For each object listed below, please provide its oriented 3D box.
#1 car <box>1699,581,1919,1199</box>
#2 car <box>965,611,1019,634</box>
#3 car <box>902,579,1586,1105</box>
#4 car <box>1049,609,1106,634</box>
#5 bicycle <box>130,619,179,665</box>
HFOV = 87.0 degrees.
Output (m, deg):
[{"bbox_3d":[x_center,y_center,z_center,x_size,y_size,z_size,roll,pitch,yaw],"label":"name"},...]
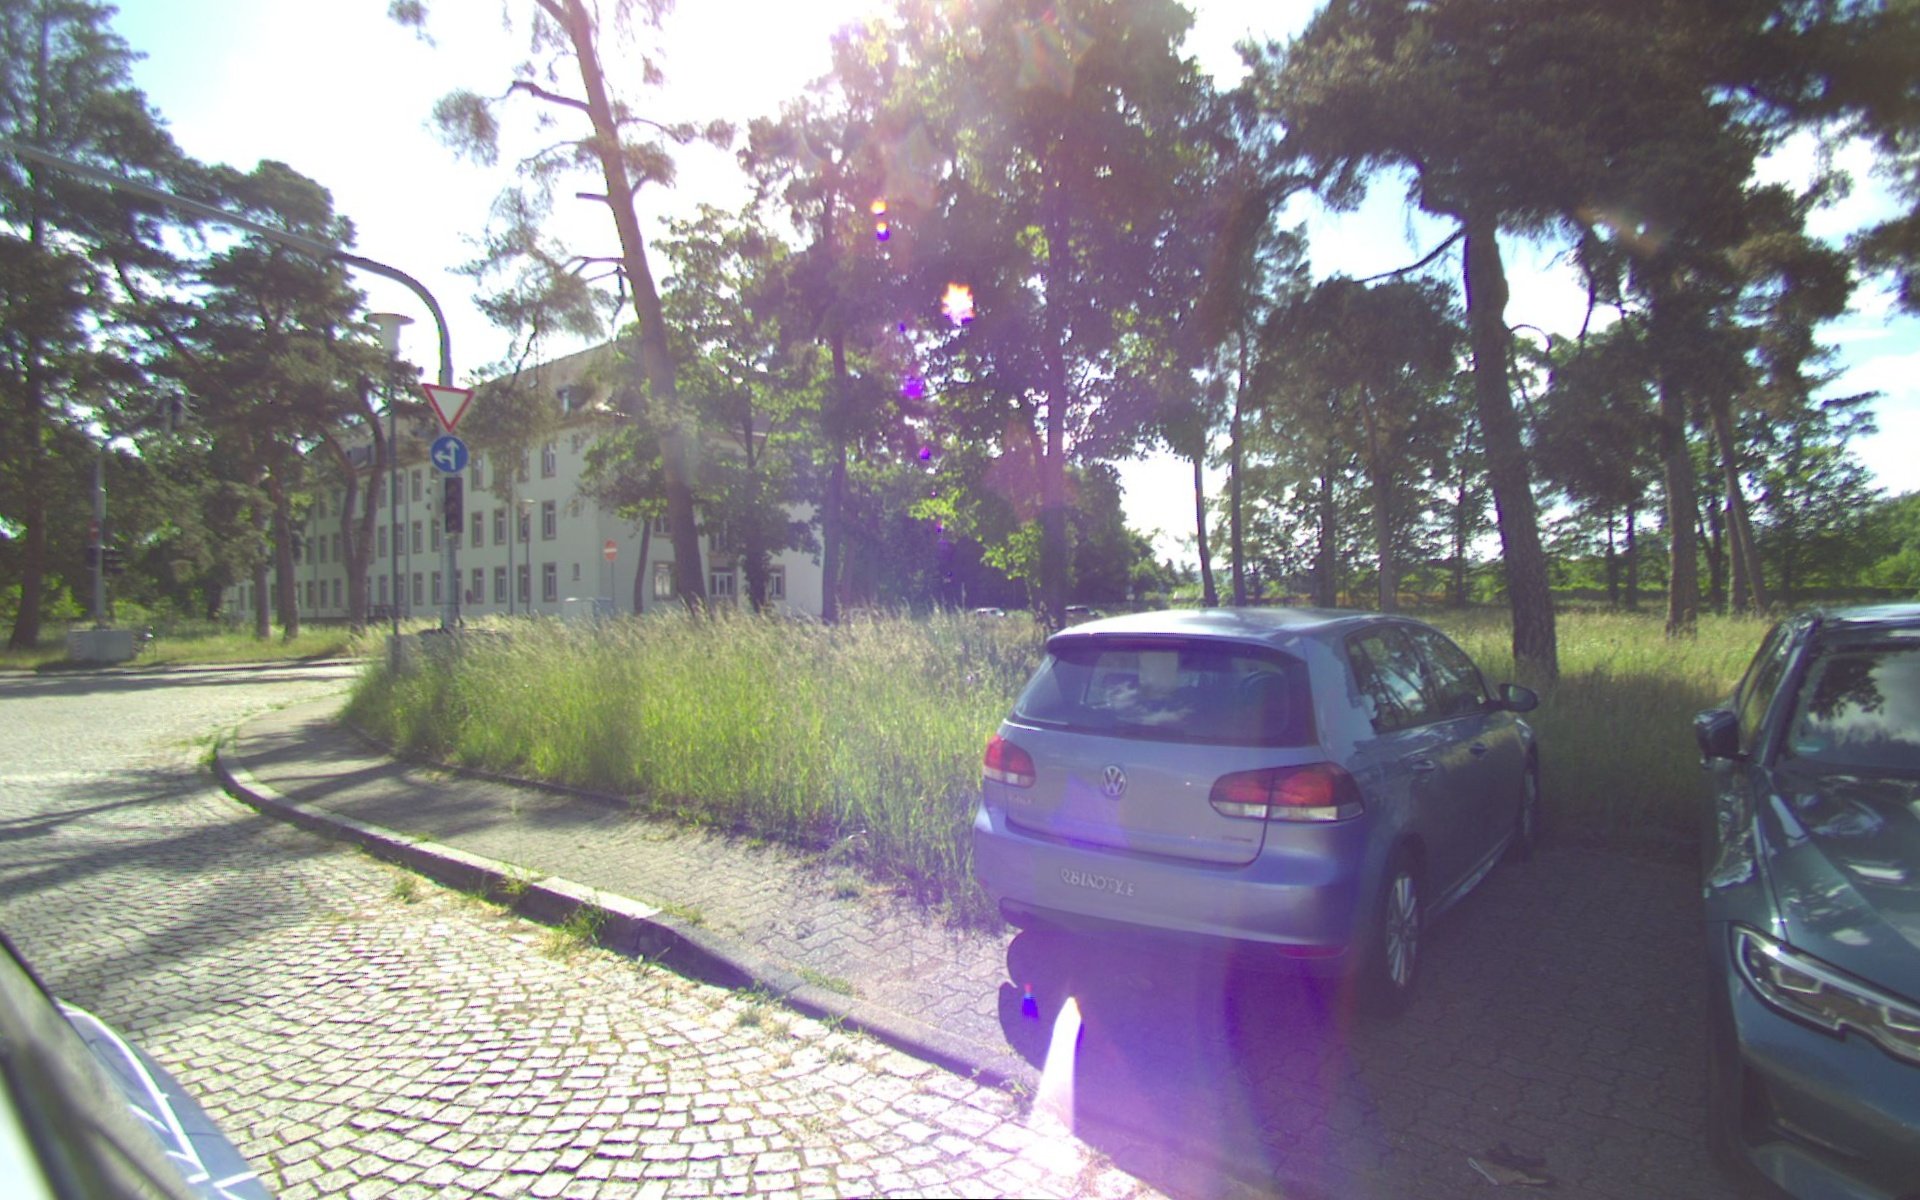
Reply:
[{"bbox_3d":[3.672,0.679,3.301,1.980,1.463,4.540,-1,1,36],"label":"car"},{"bbox_3d":[2.343,1.628,72.675,1.719,1.593,4.052,-1,-1,41],"label":"car"},{"bbox_3d":[1.761,0.689,5.101,1.946,1.494,3.989,-2,0,38],"label":"car"},{"bbox_3d":[7.830,1.443,67.399,1.840,1.642,4.004,-2,-2,41],"label":"car"},{"bbox_3d":[-24.266,1.261,30.464,2.112,1.293,0.614,-2,2,38],"label":"bicycle"}]
